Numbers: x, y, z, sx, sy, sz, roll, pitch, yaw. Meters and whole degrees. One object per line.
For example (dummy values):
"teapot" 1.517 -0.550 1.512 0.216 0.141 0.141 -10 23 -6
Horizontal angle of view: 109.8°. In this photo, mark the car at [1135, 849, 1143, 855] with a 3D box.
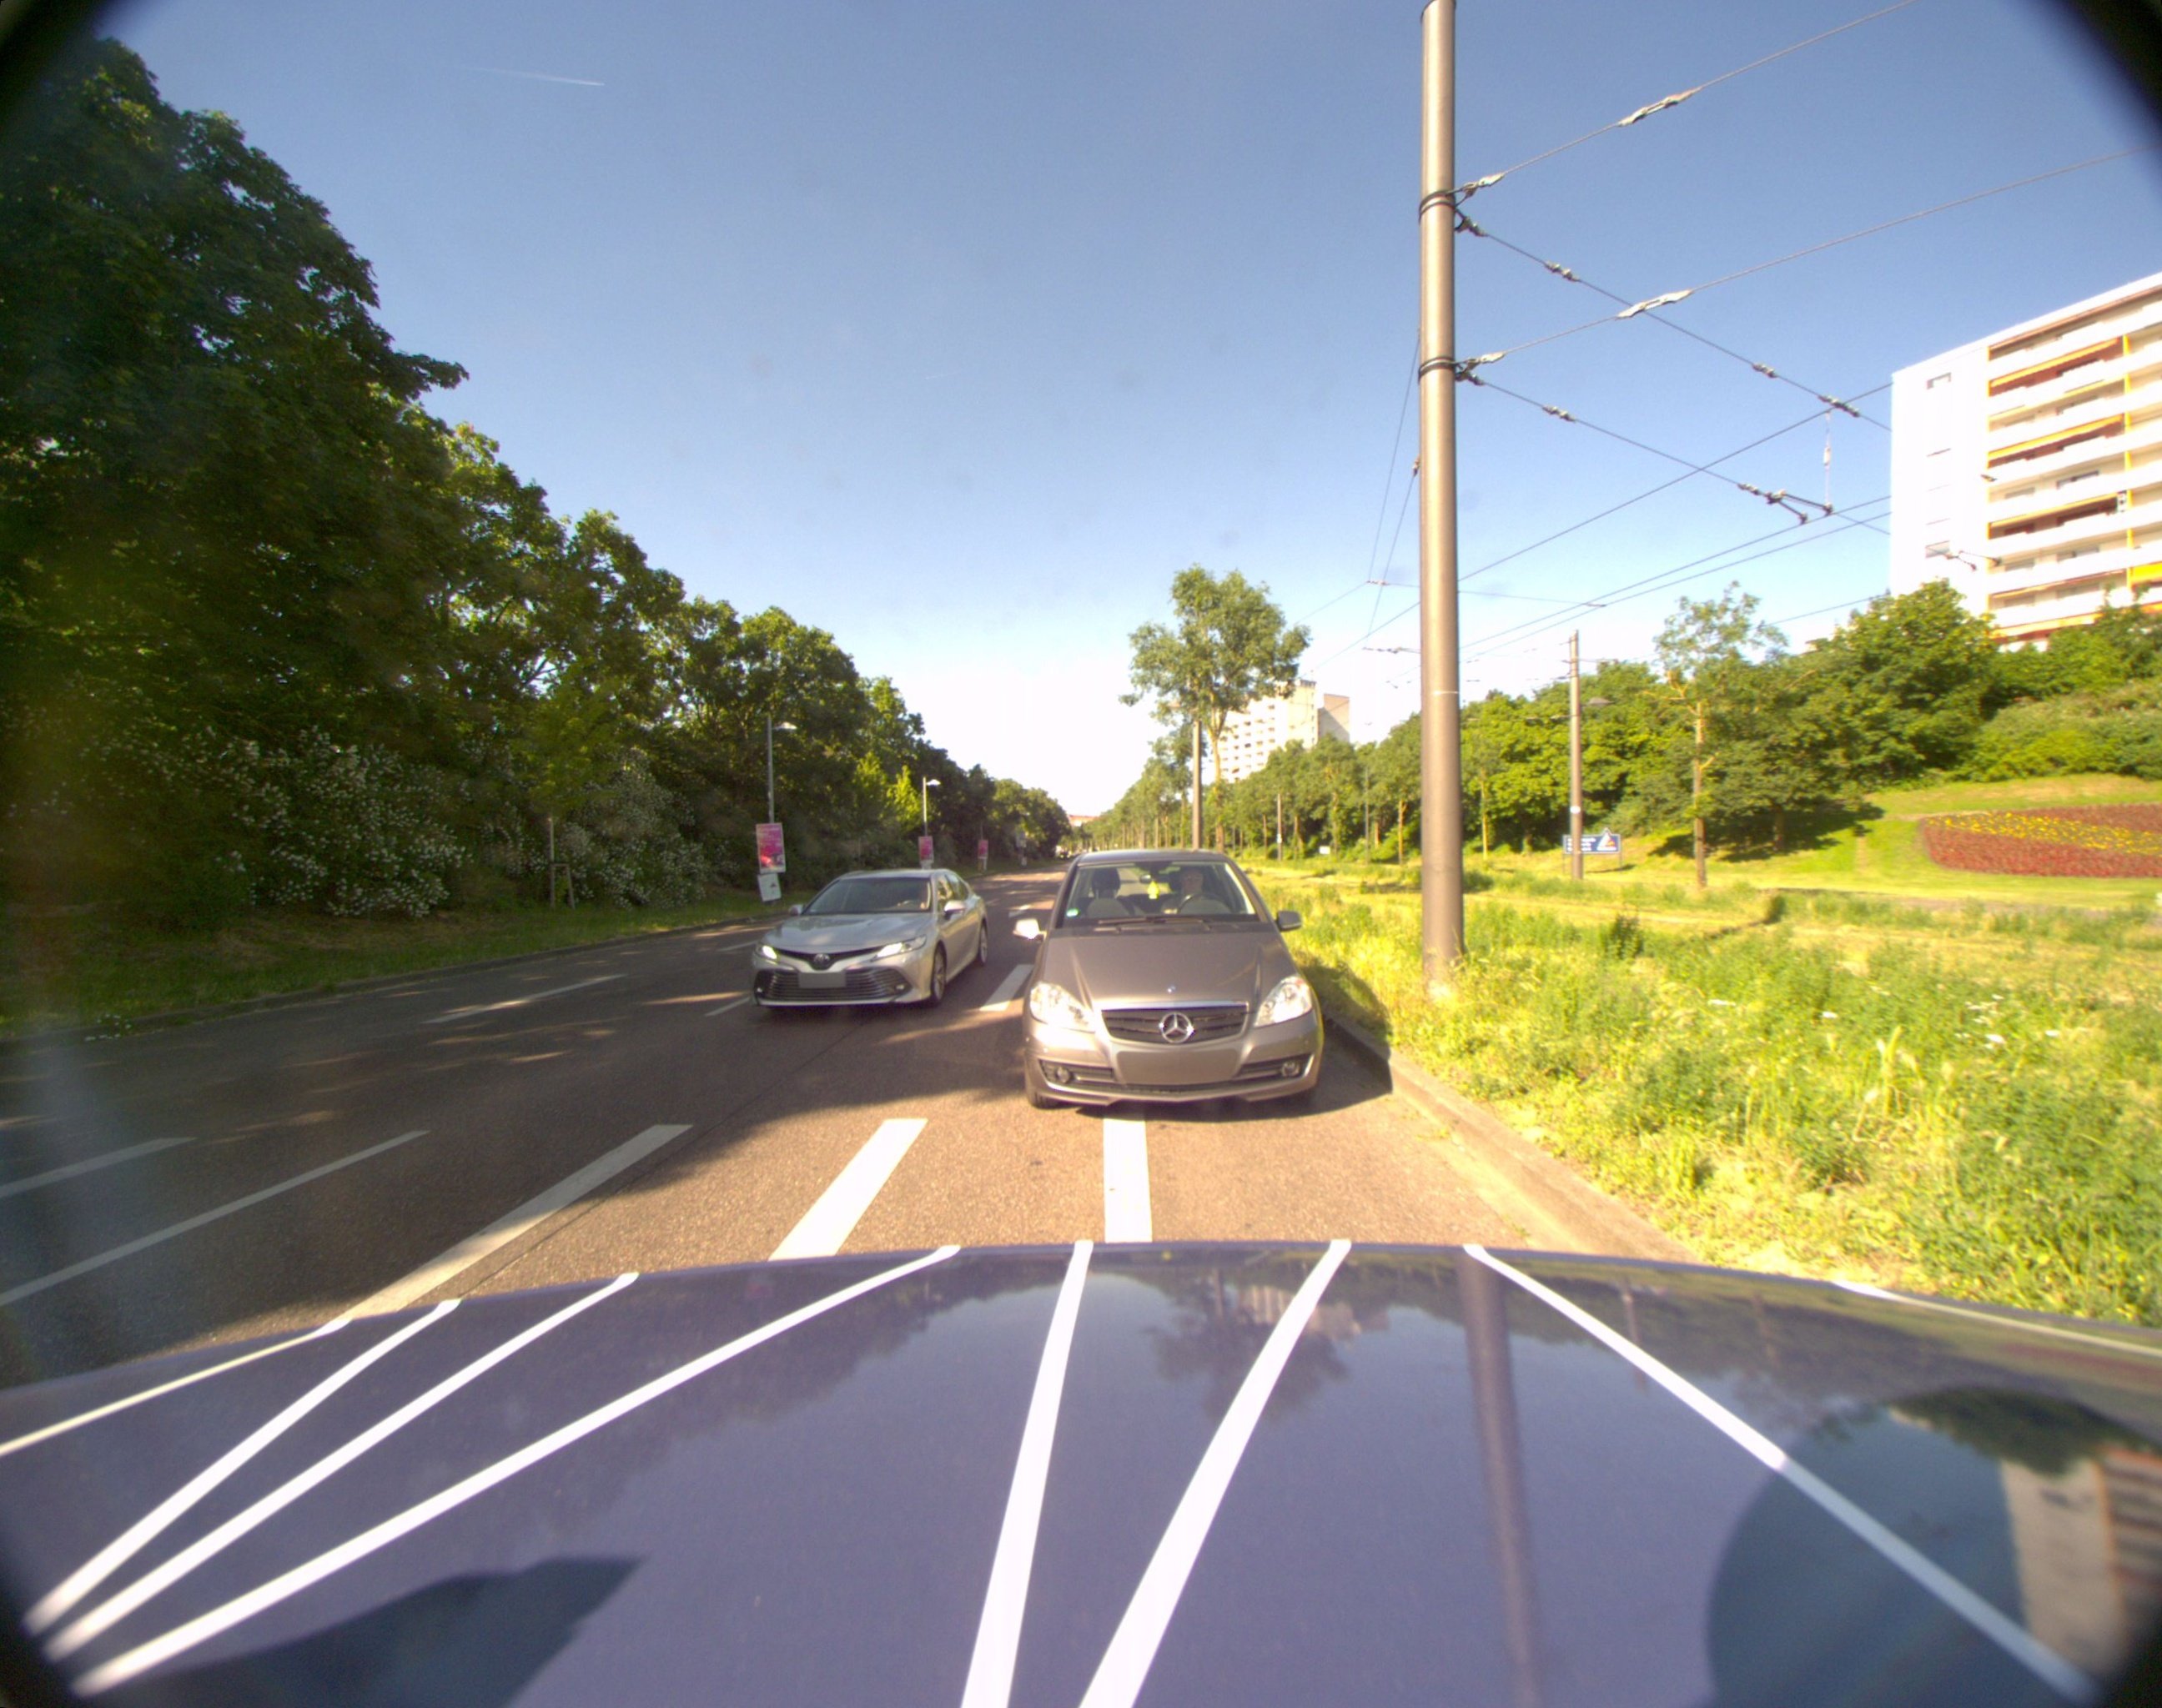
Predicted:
"car" 14.058 -0.537 183.490 1.799 1.408 4.310 -1 0 2

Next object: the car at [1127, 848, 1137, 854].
"car" 14.524 -0.849 216.403 1.801 1.408 4.306 -1 0 -11

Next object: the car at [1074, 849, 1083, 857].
"car" -0.537 -0.298 174.127 1.998 1.702 4.000 -1 0 1

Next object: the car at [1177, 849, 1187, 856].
"car" 20.340 -0.228 153.153 1.780 1.368 4.001 -1 0 3

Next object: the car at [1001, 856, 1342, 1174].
"car" 0.499 0.853 5.914 1.759 1.612 3.880 -1 0 1

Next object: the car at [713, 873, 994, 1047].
"car" -2.349 1.031 9.245 1.875 1.428 4.594 -1 0 2

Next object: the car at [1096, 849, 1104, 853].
"car" 6.272 -0.938 249.301 1.801 1.408 4.306 -1 0 -10

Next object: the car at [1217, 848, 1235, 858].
"car" 22.171 -0.137 116.403 1.998 1.565 4.106 -1 0 1

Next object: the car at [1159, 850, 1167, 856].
"car" 18.806 -0.256 174.276 1.792 1.499 4.241 -1 0 3

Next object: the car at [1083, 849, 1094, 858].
"car" 1.481 -0.078 147.558 1.998 1.702 4.000 -1 0 1
